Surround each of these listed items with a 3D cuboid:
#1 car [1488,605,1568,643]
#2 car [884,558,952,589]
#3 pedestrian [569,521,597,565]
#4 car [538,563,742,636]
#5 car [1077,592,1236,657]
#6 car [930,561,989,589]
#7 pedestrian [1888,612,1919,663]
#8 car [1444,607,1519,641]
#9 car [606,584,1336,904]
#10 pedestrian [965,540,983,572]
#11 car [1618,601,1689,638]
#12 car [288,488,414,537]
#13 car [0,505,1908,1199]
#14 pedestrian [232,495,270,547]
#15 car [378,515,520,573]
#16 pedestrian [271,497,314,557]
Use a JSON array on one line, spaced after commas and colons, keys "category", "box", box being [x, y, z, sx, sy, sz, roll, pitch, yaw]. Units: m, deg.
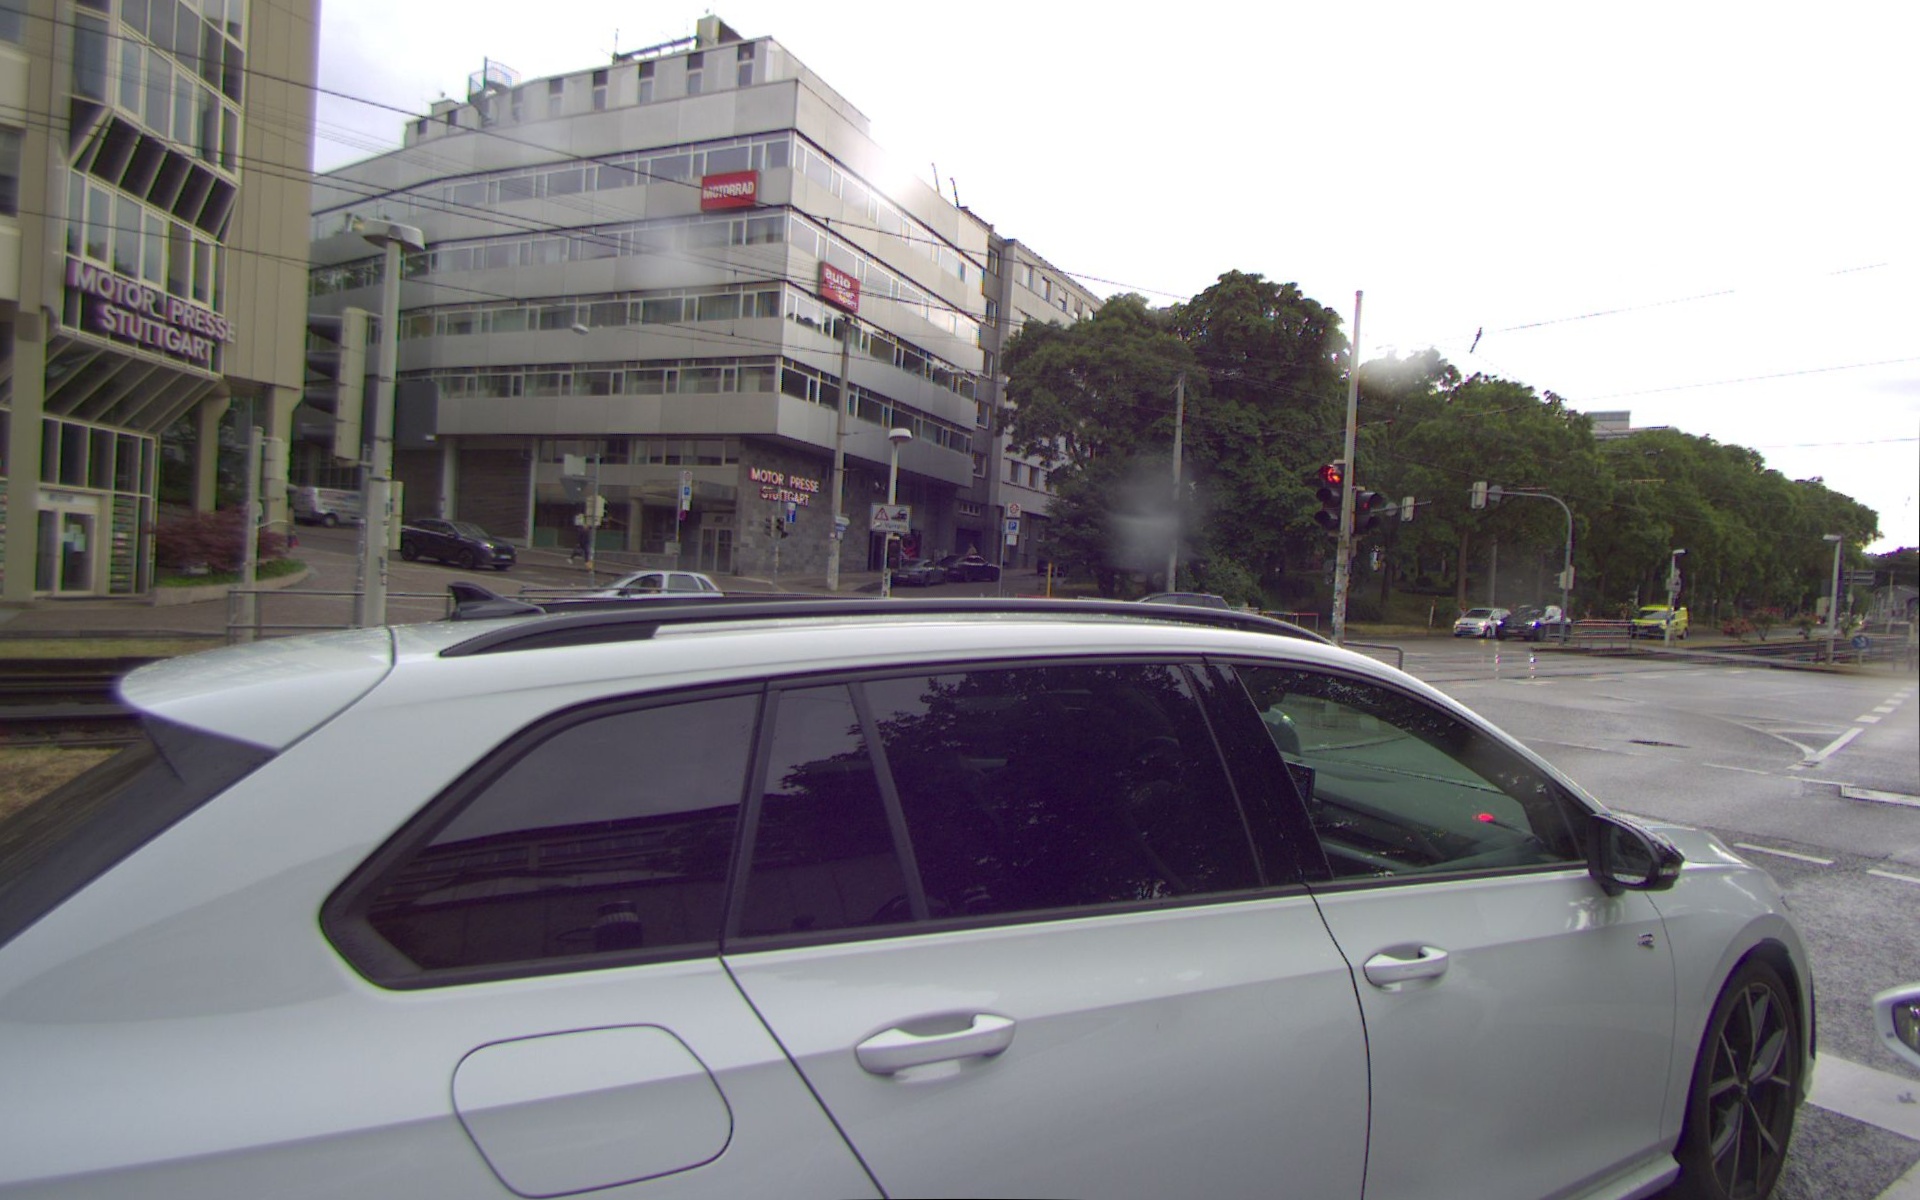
[{"category": "car", "box": [26.334, 1.114, 46.572, 3.648, 1.566, 1.905, 2, 1, -37]}, {"category": "car", "box": [-2.059, -1.307, 50.612, 1.842, 1.450, 4.091, 3, 2, 22]}, {"category": "pedestrian", "box": [-16.886, -2.537, 44.983, 0.833, 1.886, 0.719, 5, 2, 25]}, {"category": "car", "box": [-6.763, -0.001, 21.362, 3.831, 1.375, 1.617, 2, 2, -33]}, {"category": "car", "box": [4.956, 0.597, 25.778, 3.794, 1.375, 1.633, 3, 2, 5]}, {"category": "car", "box": [0.031, -1.367, 55.586, 1.842, 1.450, 3.998, 3, 2, 22]}, {"category": "pedestrian", "box": [35.313, 1.377, 37.489, 0.862, 1.826, 0.860, 1, 3, -44]}, {"category": "car", "box": [26.063, 1.206, 50.187, 3.648, 1.566, 1.905, 2, 1, -37]}, {"category": "car", "box": [0.196, 0.712, 6.488, 4.423, 1.461, 1.787, 2, 0, -30]}, {"category": "pedestrian", "box": [0.861, -2.662, 61.158, 0.708, 1.886, 0.757, 6, 5, 37]}, {"category": "car", "box": [38.782, 1.116, 56.105, 4.525, 1.875, 1.905, 2, 1, -38]}, {"category": "car", "box": [-32.030, -4.563, 52.996, 1.964, 2.040, 5.403, 2, 0, 30]}, {"category": "car", "box": [0.299, 0.696, 2.475, 4.423, 1.461, 1.787, 2, 0, -30]}, {"category": "pedestrian", "box": [-23.650, -2.628, 33.495, 0.746, 1.661, 0.719, 5, 2, 25]}, {"category": "car", "box": [-18.894, -2.061, 37.144, 4.794, 1.601, 1.999, 7, 3, 23]}, {"category": "pedestrian", "box": [-21.282, -2.329, 32.038, 0.746, 1.811, 0.830, 5, 2, 25]}]
